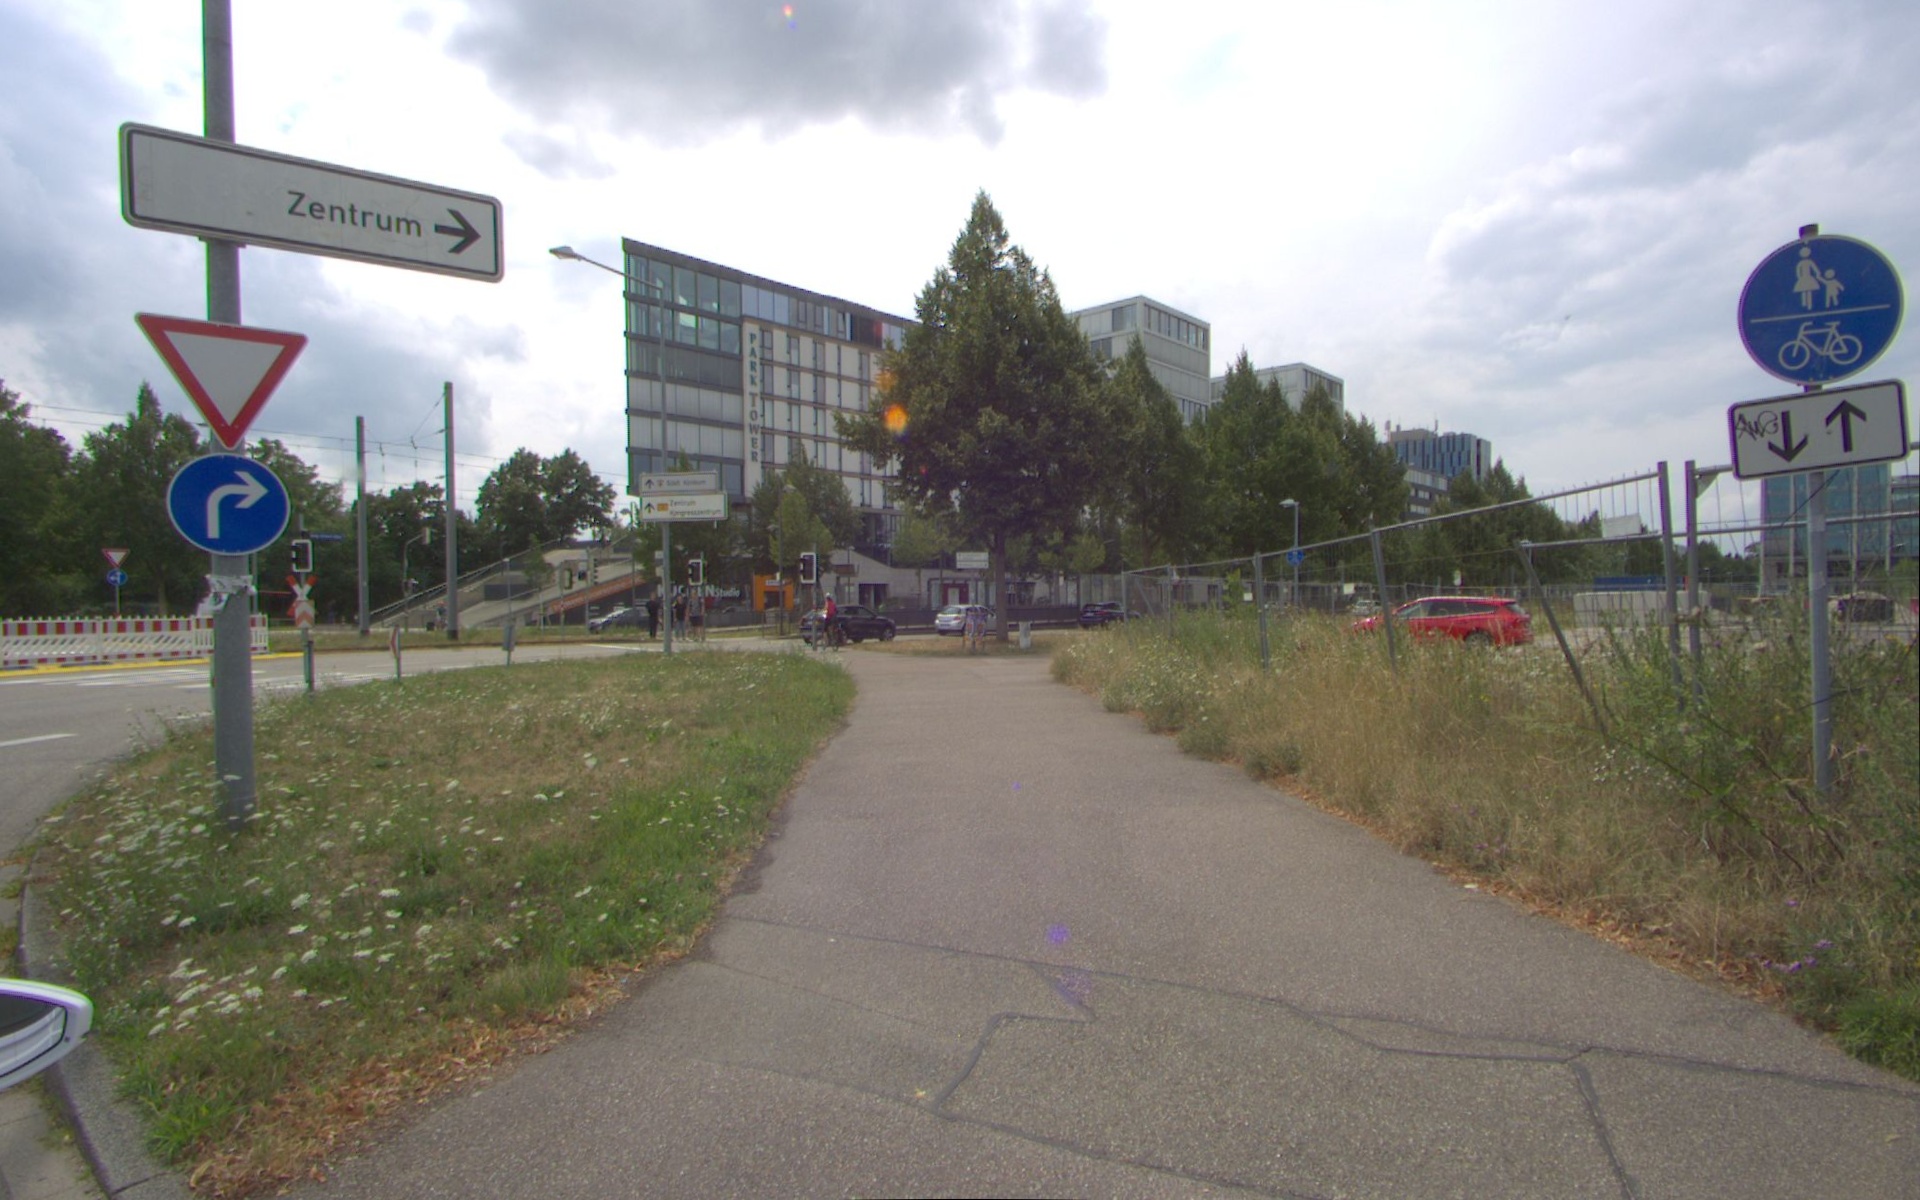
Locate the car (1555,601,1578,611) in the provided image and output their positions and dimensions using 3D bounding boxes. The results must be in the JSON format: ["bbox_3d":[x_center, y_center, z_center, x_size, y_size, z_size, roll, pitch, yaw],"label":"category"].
[{"bbox_3d":[82.709,0.822,136.464,1.978,1.392,3.966,0,0,42],"label":"car"}]

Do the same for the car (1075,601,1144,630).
[{"bbox_3d":[8.495,0.850,56.584,1.714,1.554,4.333,0,0,43],"label":"car"}]

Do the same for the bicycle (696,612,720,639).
[{"bbox_3d":[-10.390,1.022,41.274,0.541,1.072,1.704,0,0,-29],"label":"bicycle"}]

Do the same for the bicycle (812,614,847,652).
[{"bbox_3d":[-4.343,1.070,33.293,0.778,1.183,2.037,-1,0,-19],"label":"bicycle"}]

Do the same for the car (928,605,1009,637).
[{"bbox_3d":[0.452,0.976,48.143,1.806,1.482,4.233,0,0,35],"label":"car"}]

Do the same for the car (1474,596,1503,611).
[{"bbox_3d":[61.003,0.399,115.562,1.977,1.639,4.713,0,0,41],"label":"car"}]

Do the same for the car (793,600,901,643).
[{"bbox_3d":[-4.259,0.775,38.241,1.720,1.539,4.115,0,0,40],"label":"car"}]

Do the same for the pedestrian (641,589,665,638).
[{"bbox_3d":[-11.620,0.511,37.915,0.546,1.805,0.685,1,1,37],"label":"pedestrian"}]

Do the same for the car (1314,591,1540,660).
[{"bbox_3d":[11.964,0.621,25.843,5.072,1.625,1.777,0,0,37],"label":"car"}]

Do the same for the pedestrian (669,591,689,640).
[{"bbox_3d":[-10.996,0.601,39.198,0.546,1.887,0.527,1,1,37],"label":"pedestrian"}]

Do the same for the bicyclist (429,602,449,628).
[{"bbox_3d":[-26.198,0.749,50.355,0.664,1.334,0.638,1,1,26],"label":"bicyclist"}]

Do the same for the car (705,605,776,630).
[{"bbox_3d":[-13.592,1.080,62.063,1.829,1.477,3.963,1,0,44],"label":"car"}]

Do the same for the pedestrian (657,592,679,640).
[{"bbox_3d":[-11.275,0.617,38.634,0.546,1.805,0.629,1,1,37],"label":"pedestrian"}]

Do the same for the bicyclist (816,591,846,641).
[{"bbox_3d":[-4.277,0.519,33.114,0.778,1.649,1.046,-1,1,-19],"label":"bicyclist"}]

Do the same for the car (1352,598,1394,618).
[{"bbox_3d":[32.683,0.636,79.199,1.782,1.517,4.223,0,0,43],"label":"car"}]

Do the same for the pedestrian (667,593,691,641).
[{"bbox_3d":[-10.748,0.646,38.328,0.546,1.805,0.685,1,1,37],"label":"pedestrian"}]

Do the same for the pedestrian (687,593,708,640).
[{"bbox_3d":[-10.190,0.652,38.892,0.546,1.805,0.576,1,1,37],"label":"pedestrian"}]

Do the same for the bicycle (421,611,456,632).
[{"bbox_3d":[-26.239,1.083,50.373,1.728,1.020,0.652,0,0,27],"label":"bicycle"}]

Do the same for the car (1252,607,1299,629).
[{"bbox_3d":[22.748,1.271,72.077,1.780,1.517,4.084,0,0,40],"label":"car"}]

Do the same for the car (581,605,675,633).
[{"bbox_3d":[-18.484,1.024,55.846,1.829,1.477,4.696,1,0,43],"label":"car"}]
